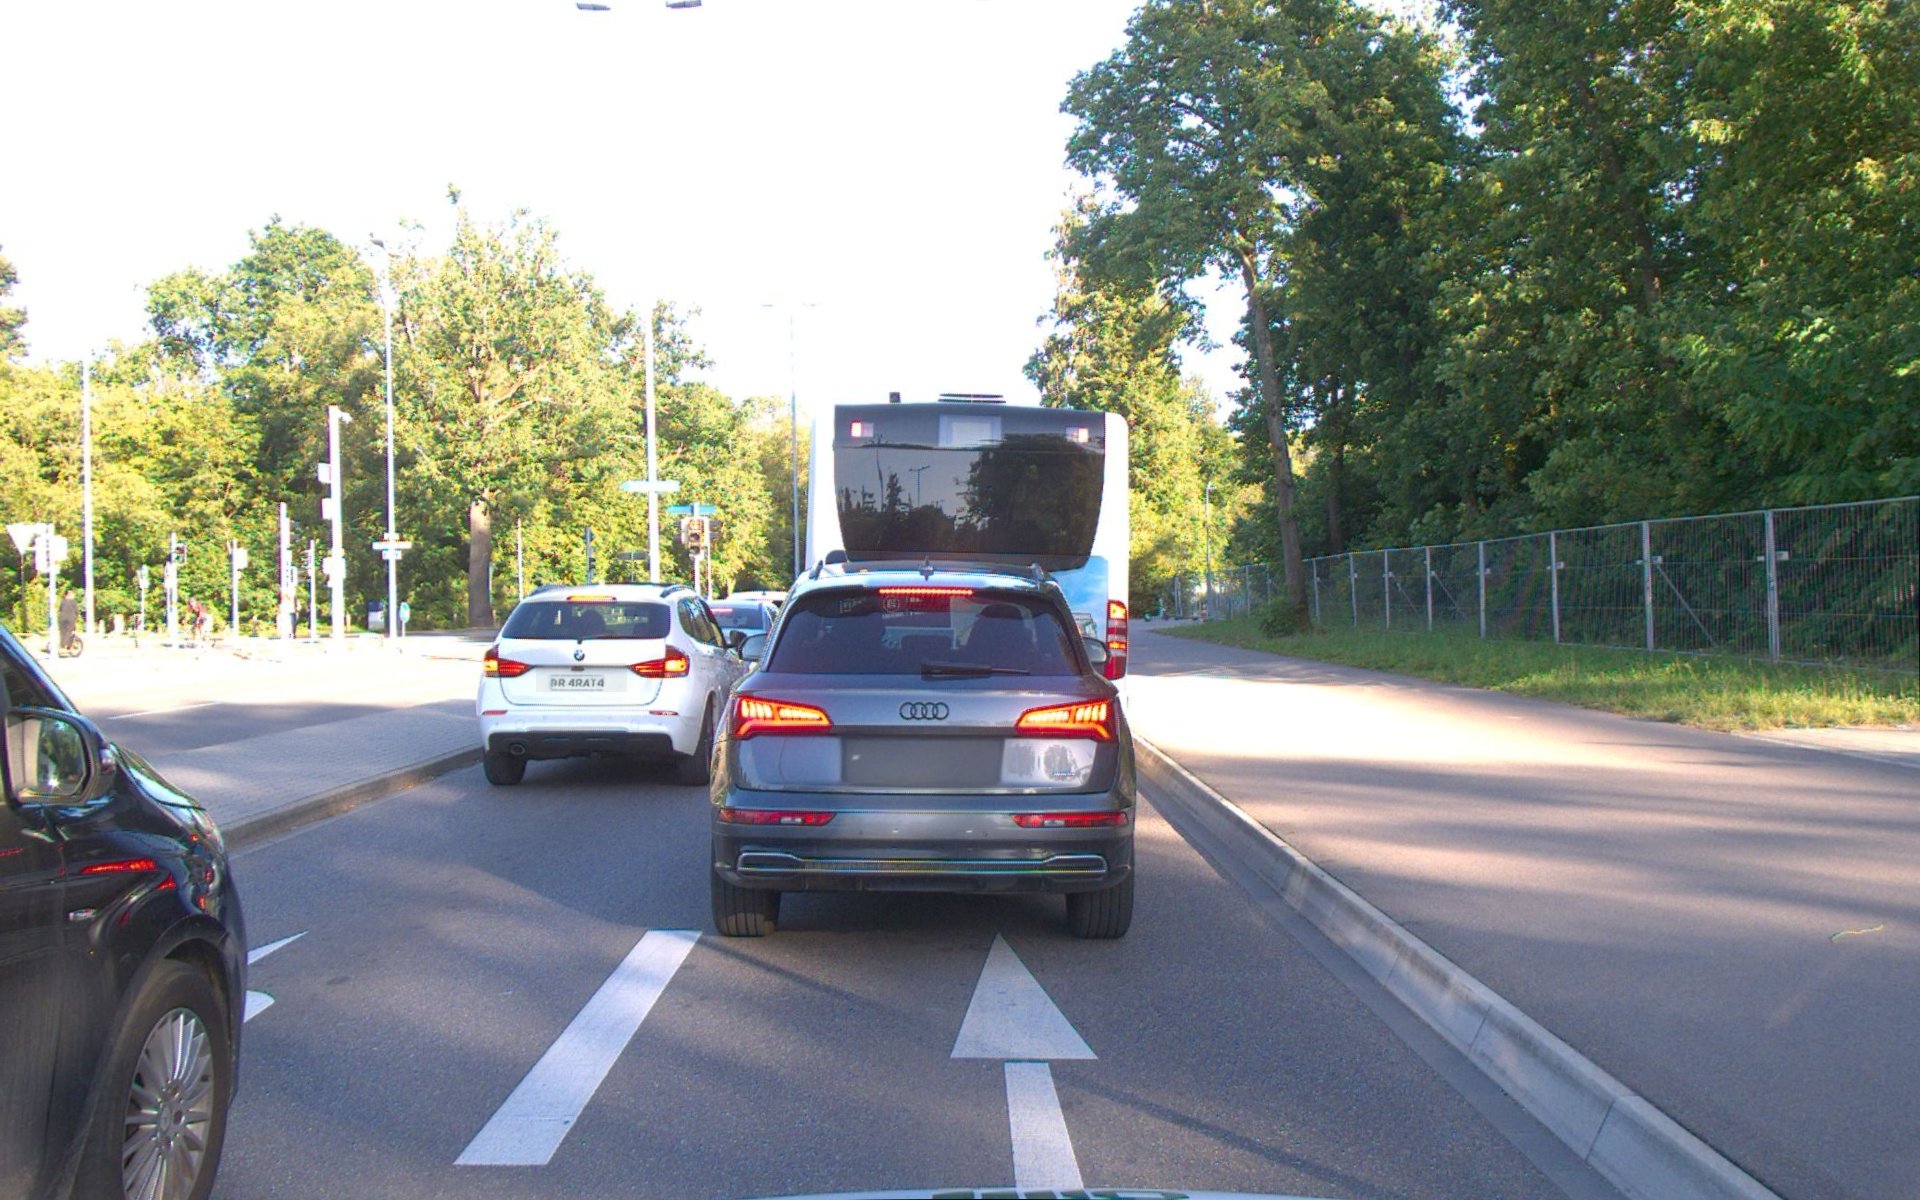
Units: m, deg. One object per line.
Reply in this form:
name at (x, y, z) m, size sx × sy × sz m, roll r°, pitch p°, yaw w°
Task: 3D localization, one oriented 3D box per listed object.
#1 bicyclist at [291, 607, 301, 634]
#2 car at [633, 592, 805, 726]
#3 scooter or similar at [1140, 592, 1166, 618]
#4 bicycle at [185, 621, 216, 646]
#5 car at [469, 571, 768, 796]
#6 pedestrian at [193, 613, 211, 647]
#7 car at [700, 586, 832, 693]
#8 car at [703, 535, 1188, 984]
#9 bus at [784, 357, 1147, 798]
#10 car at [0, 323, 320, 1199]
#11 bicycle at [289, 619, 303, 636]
bicyclist at (-24.441, 0.755, 60.859) m, size 0.268 × 0.979 × 0.240 m, roll 1°, pitch -1°, yaw -7°
car at (-2.950, 0.664, 20.996) m, size 1.749 × 1.469 × 4.275 m, roll 1°, pitch 1°, yaw -3°
scooter or similar at (9.128, 0.233, 78.061) m, size 1.158 × 1.195 × 0.659 m, roll 1°, pitch 0°, yaw 10°
bicycle at (-25.449, 1.115, 55.436) m, size 0.566 × 0.814 × 1.276 m, roll 1°, pitch 0°, yaw -6°
car at (-2.737, 0.619, 14.239) m, size 1.683 × 1.608 × 4.433 m, roll 1°, pitch 0°, yaw -1°
pedestrian at (-25.401, 1.009, 55.418) m, size 0.436 × 1.128 × 0.378 m, roll 1°, pitch -1°, yaw -7°
car at (-3.159, 0.595, 27.618) m, size 1.771 × 1.599 × 4.000 m, roll 1°, pitch 1°, yaw -1°
car at (-0.082, 0.587, 8.336) m, size 1.830 × 1.693 × 4.000 m, roll 1°, pitch 1°, yaw -1°
bus at (0.063, -0.203, 15.094) m, size 2.623 × 3.196 × 5.882 m, roll 1°, pitch 1°, yaw 0°
car at (-2.514, 0.490, 1.804) m, size 1.869 × 1.888 × 4.872 m, roll 1°, pitch 1°, yaw -2°
bicycle at (-24.445, 1.019, 60.918) m, size 0.261 × 0.592 × 0.838 m, roll 1°, pitch 0°, yaw -6°
